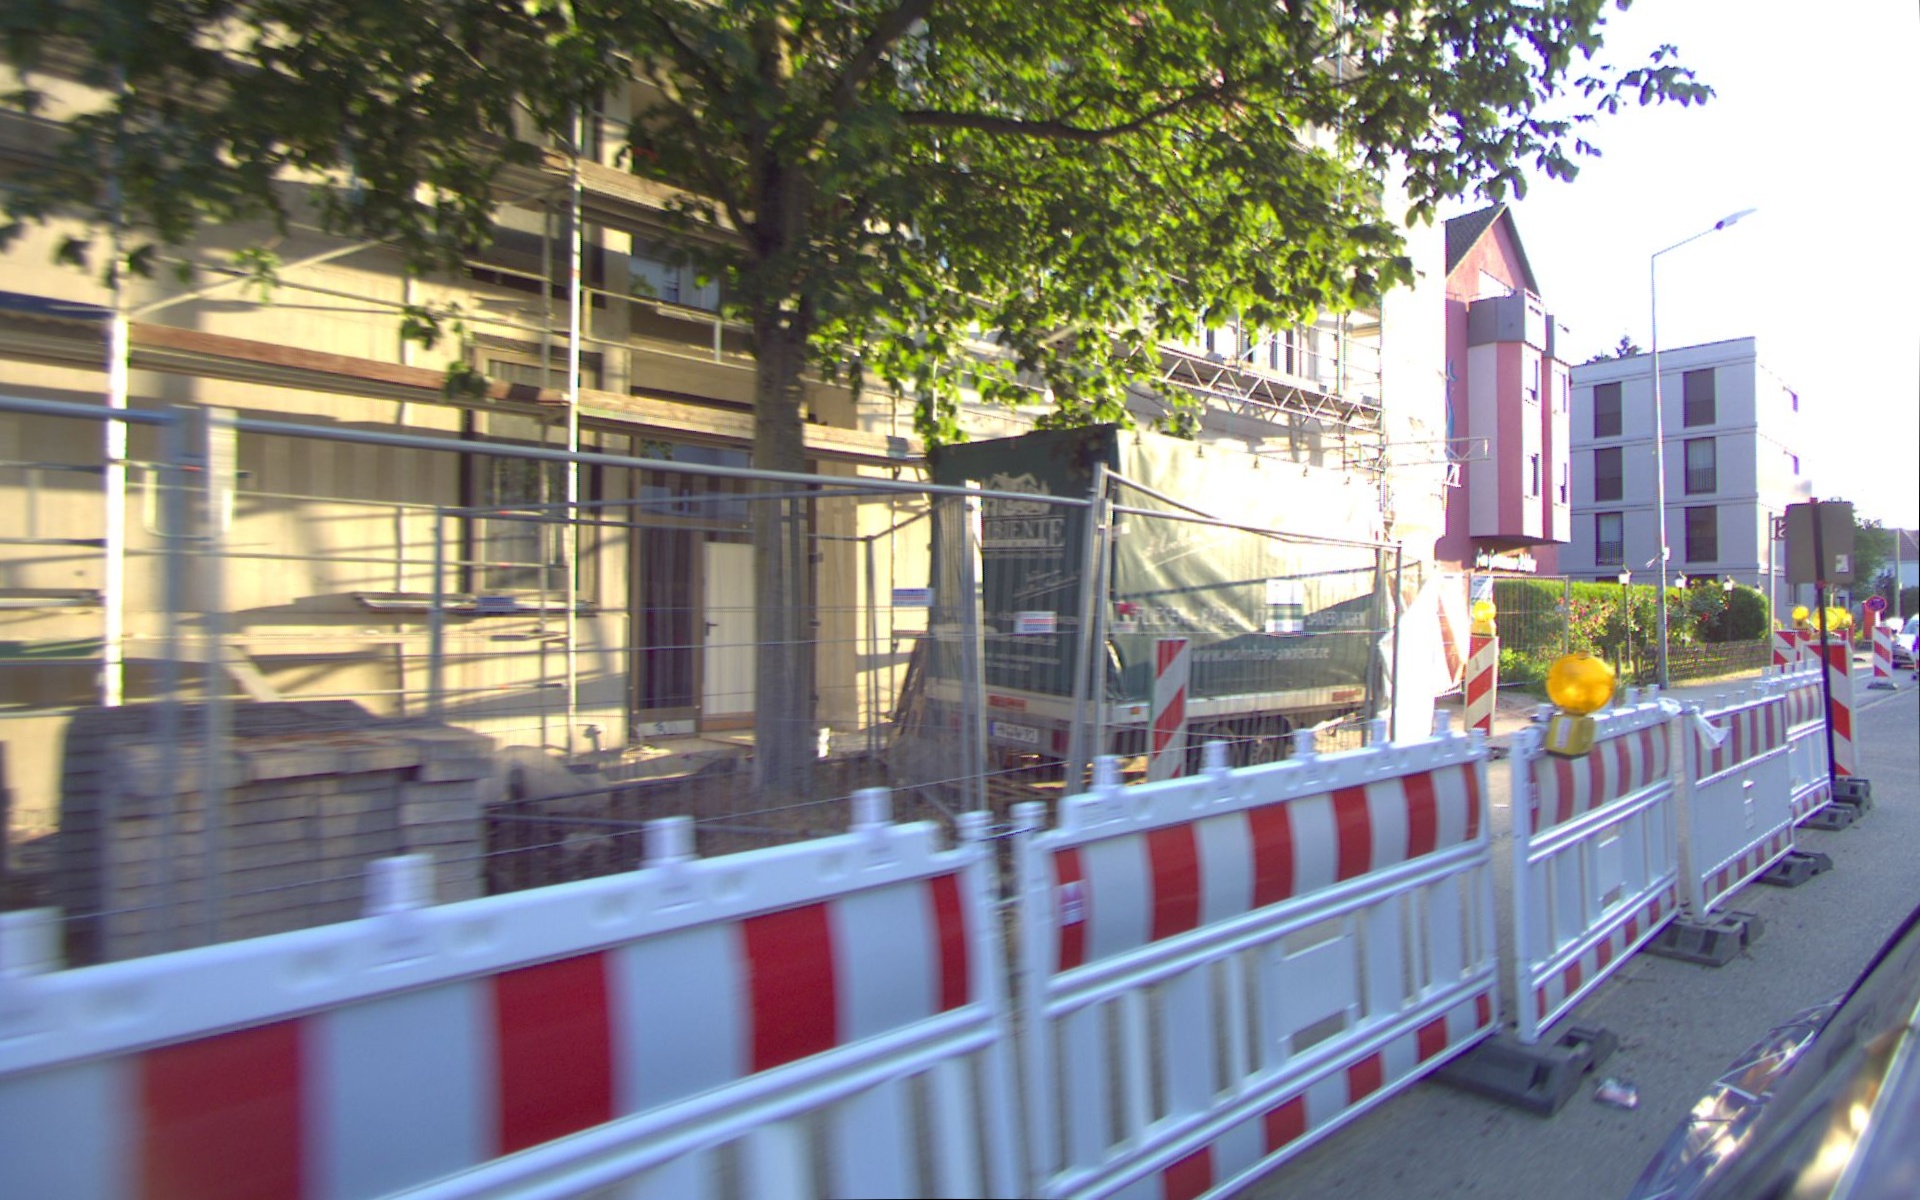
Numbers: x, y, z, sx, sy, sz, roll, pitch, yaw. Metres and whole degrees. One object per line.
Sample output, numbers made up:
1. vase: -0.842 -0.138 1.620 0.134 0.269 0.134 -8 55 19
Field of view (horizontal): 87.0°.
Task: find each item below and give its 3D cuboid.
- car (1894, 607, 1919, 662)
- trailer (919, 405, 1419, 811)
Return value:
1. car: 26.535 0.912 27.112 4.035 1.415 1.778 1 -1 -41
2. trailer: 1.890 0.083 8.498 4.111 2.572 1.997 1 -2 -40
